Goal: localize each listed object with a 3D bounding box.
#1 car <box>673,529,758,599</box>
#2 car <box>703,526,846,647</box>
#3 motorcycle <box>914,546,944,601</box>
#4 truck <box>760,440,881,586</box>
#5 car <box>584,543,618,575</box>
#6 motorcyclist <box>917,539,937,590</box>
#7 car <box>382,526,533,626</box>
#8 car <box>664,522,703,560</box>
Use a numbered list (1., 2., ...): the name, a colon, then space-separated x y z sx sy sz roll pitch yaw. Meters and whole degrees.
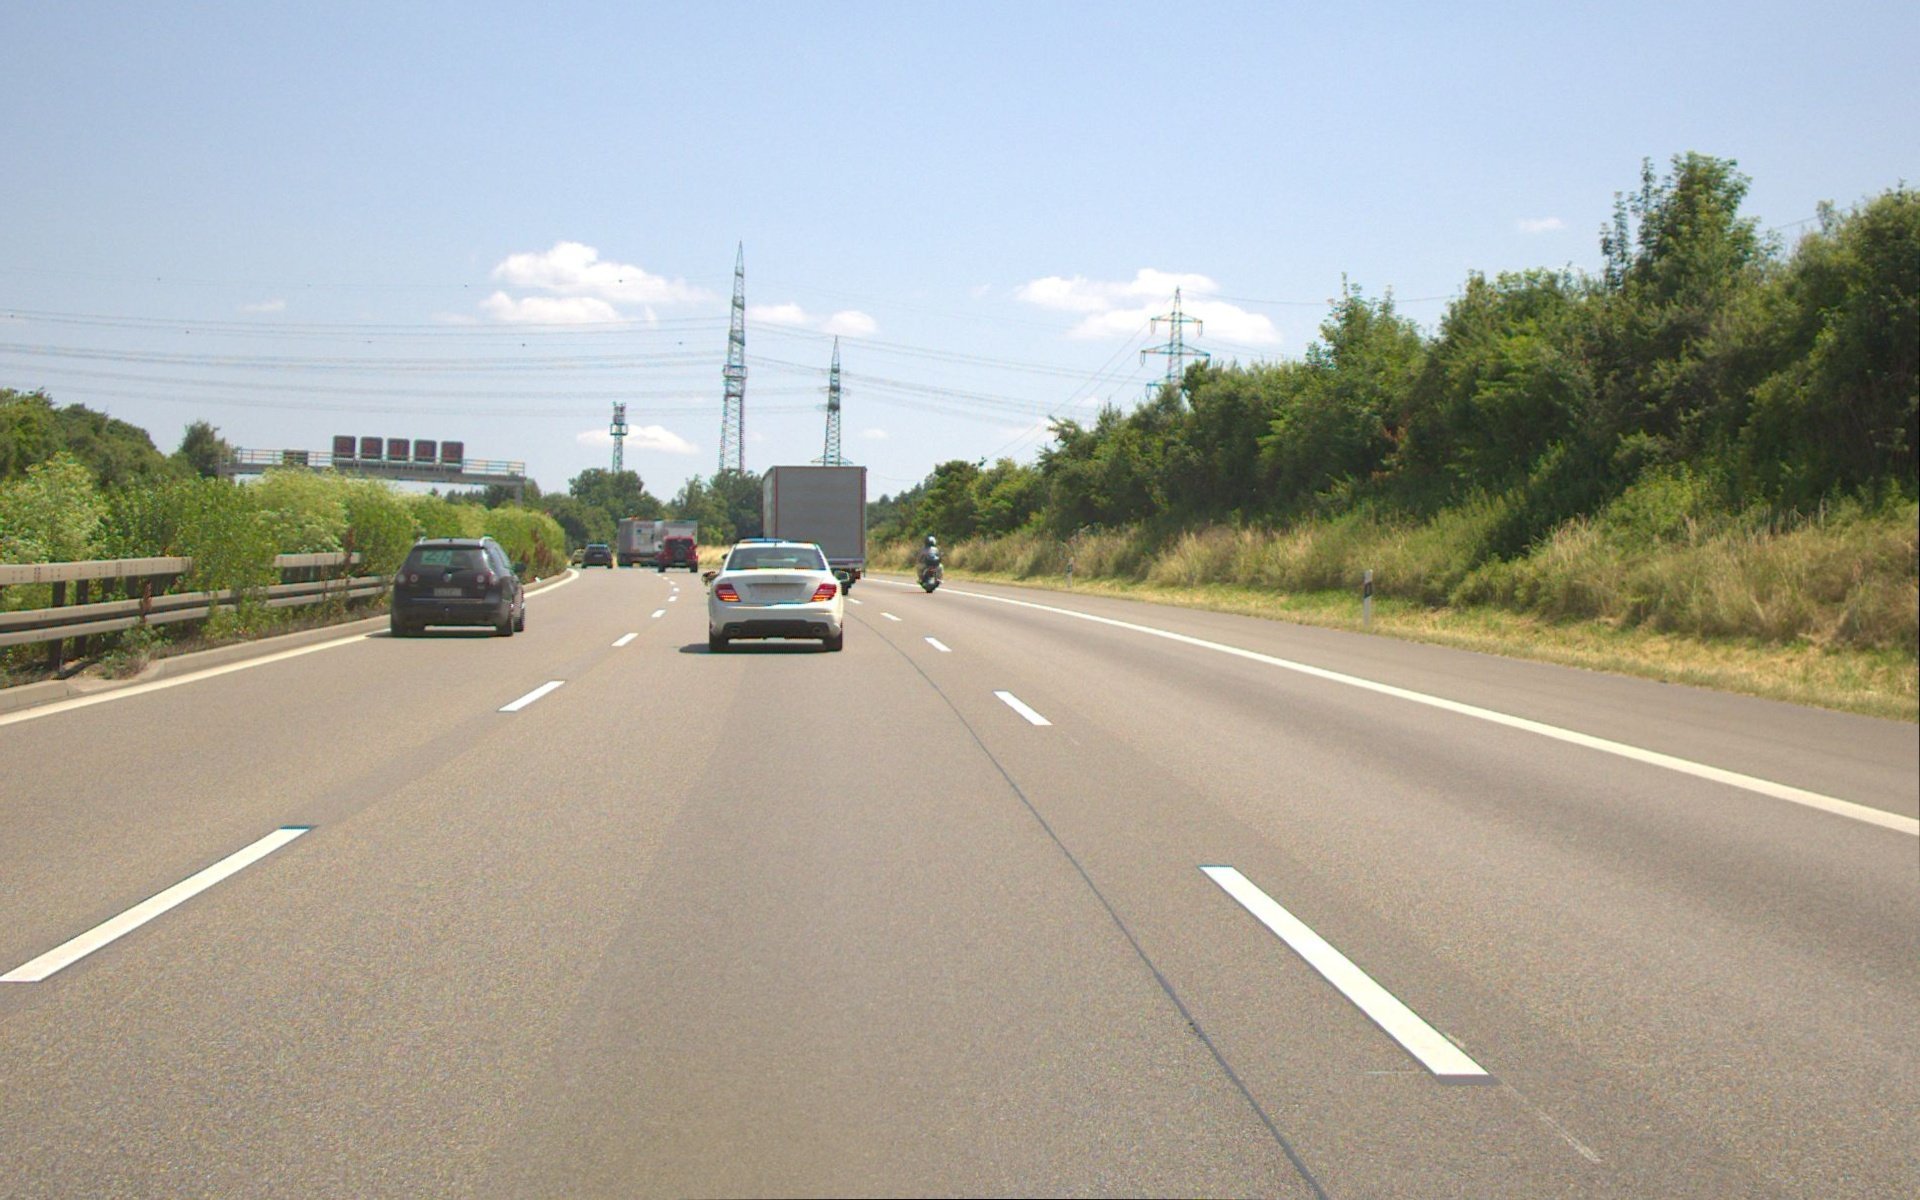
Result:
1. car: -5.578 -0.842 78.872 1.838 1.535 3.915 0 1 -3
2. car: -2.490 -0.215 45.873 1.819 1.535 3.915 0 1 -3
3. motorcycle: -0.913 -0.794 101.146 0.809 1.602 1.782 1 1 -2
4. truck: -4.034 -2.402 97.264 3.221 3.911 9.062 1 1 -3
5. car: -21.621 -2.495 206.895 1.993 1.853 4.001 0 1 -6
6. motorcyclist: -0.976 -1.053 101.106 0.572 1.474 0.700 0 1 -2
7. car: -7.542 -0.389 51.877 1.756 1.424 4.000 0 1 -1
8. car: -14.050 -3.028 174.985 1.901 1.919 4.001 0 1 -4
